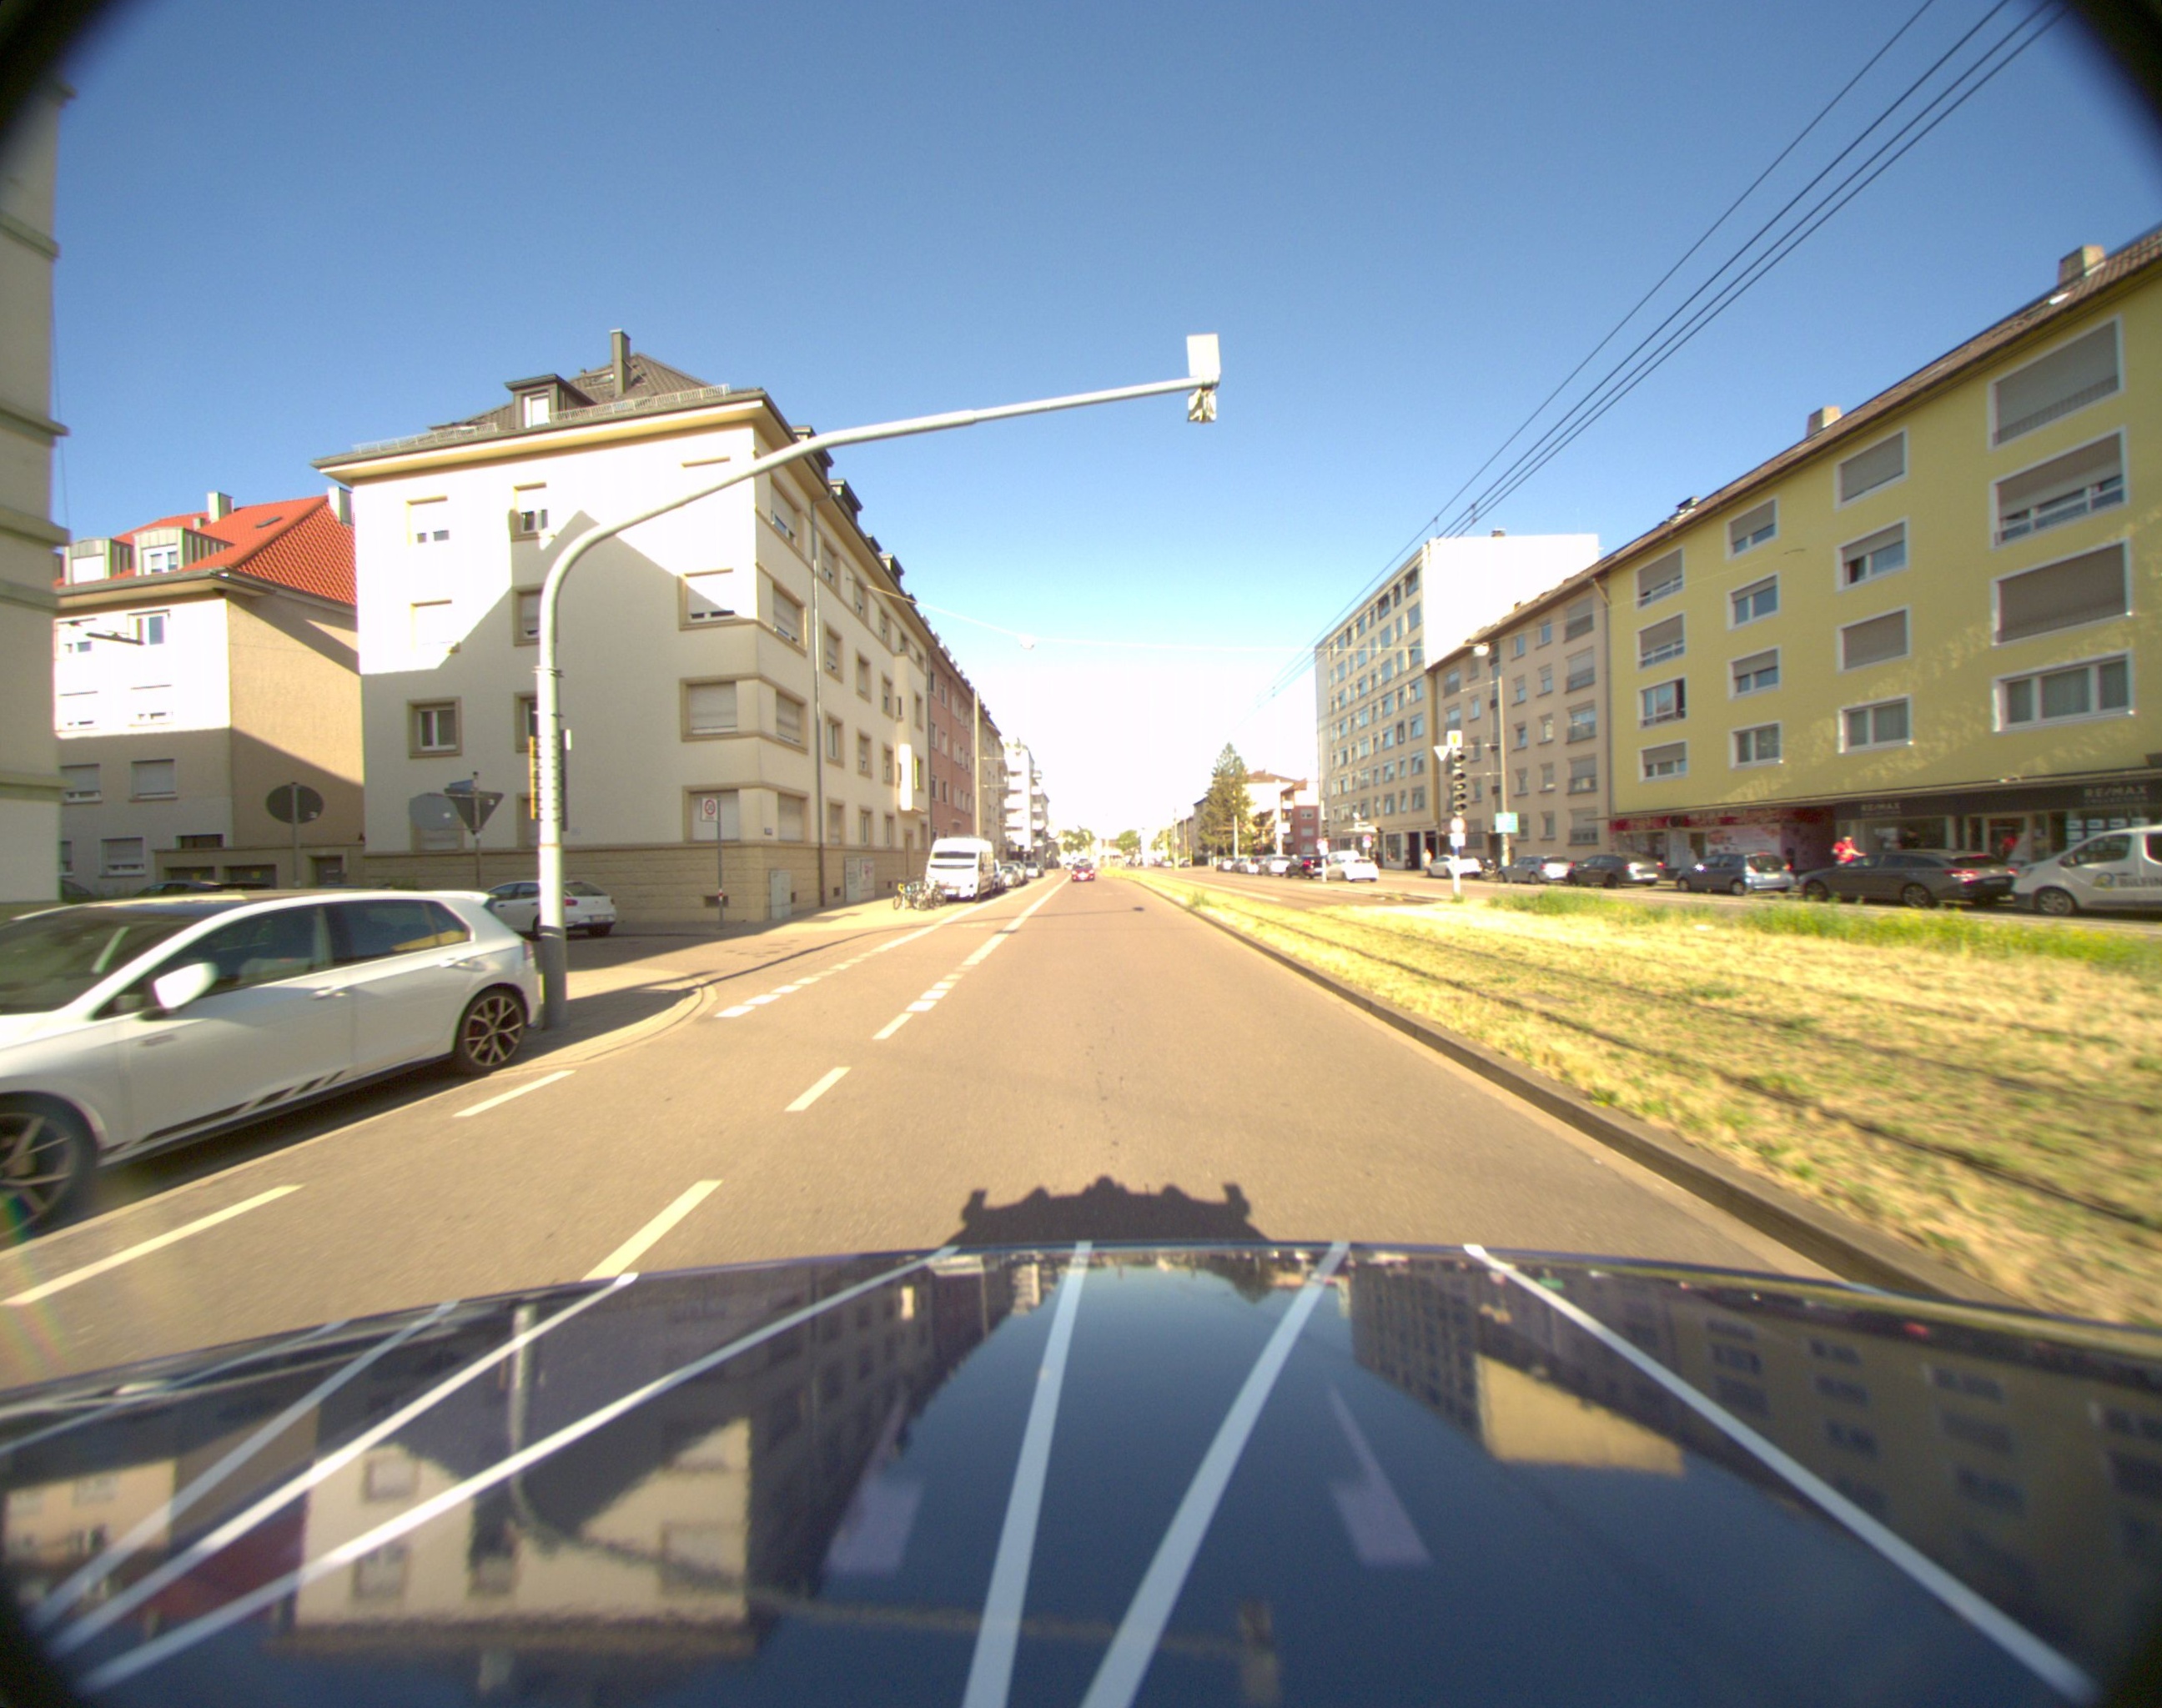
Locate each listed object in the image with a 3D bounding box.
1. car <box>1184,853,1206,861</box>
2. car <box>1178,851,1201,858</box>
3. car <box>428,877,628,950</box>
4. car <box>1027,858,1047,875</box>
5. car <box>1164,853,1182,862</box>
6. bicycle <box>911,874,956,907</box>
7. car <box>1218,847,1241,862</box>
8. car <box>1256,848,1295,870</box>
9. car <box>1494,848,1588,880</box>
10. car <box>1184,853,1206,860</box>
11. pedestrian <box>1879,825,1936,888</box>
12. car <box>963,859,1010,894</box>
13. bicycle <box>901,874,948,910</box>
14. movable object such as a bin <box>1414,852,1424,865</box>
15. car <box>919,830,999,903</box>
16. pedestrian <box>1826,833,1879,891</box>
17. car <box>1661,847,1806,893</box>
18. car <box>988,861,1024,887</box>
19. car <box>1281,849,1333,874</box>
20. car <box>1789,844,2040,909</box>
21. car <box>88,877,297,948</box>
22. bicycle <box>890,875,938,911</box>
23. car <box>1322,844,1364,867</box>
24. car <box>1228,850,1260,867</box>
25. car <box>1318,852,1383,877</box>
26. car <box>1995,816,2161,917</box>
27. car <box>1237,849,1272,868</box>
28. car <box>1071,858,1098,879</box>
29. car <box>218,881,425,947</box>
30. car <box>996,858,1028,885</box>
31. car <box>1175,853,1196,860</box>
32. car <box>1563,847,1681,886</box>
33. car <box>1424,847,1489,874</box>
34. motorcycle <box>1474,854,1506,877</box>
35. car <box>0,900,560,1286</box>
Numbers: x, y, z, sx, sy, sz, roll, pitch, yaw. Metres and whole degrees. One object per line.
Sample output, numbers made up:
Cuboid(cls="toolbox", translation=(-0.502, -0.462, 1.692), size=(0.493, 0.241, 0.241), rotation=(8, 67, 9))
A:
Cuboid(cls="car", translation=(21.894, 0.580, 145.733), size=(3.997, 1.324, 1.738), rotation=(-1, 0, 0))
Cuboid(cls="car", translation=(19.912, 0.100, 139.778), size=(3.997, 1.324, 1.738), rotation=(-1, 0, 0))
Cuboid(cls="car", translation=(-13.210, 1.399, 18.242), size=(3.735, 1.416, 1.714), rotation=(-4, 0, 11))
Cuboid(cls="car", translation=(-3.982, 1.157, 69.378), size=(1.762, 1.543, 2.649), rotation=(0, 0, -1))
Cuboid(cls="car", translation=(16.300, 0.667, 134.026), size=(1.718, 1.379, 3.720), rotation=(-4, 0, 32))
Cuboid(cls="bicycle", translation=(-5.110, 1.271, 26.265), size=(0.487, 1.080, 2.023), rotation=(-4, 0, -42))
Cuboid(cls="car", translation=(15.098, 0.066, 77.340), size=(1.617, 1.550, 4.000), rotation=(1, 0, 0))
Cuboid(cls="car", translation=(14.536, 0.390, 56.974), size=(1.787, 1.572, 4.608), rotation=(0, 0, 0))
Cuboid(cls="car", translation=(22.417, 0.481, 37.247), size=(1.787, 1.377, 4.414), rotation=(-4, 0, -1))
Cuboid(cls="car", translation=(22.376, 0.435, 149.530), size=(3.997, 1.324, 1.738), rotation=(-1, 0, 0))
Cuboid(cls="pedestrian", translation=(25.521, 0.078, 23.481), size=(0.672, 1.849, 0.924), rotation=(-4, 0, 1))
Cuboid(cls="car", translation=(-4.661, 1.055, 37.942), size=(1.852, 1.627, 4.574), rotation=(0, 0, -1))
Cuboid(cls="bicycle", translation=(-5.222, 1.242, 25.256), size=(1.912, 1.081, 0.474), rotation=(1, 4, 44))
Cuboid(cls="movable object such as a bin", translation=(27.716, 0.363, 62.331), size=(0.545, 1.045, 0.775), rotation=(-1, 0, 3))
Cuboid(cls="car", translation=(-4.822, 0.461, 31.132), size=(2.156, 2.680, 6.292), rotation=(1, 0, 1))
Cuboid(cls="pedestrian", translation=(24.048, 0.238, 23.699), size=(0.672, 1.733, 0.845), rotation=(-4, 0, 1))
Cuboid(cls="car", translation=(22.629, 0.523, 26.567), size=(1.787, 1.377, 3.768), rotation=(-4, 0, 1))
Cuboid(cls="car", translation=(-4.537, 1.190, 46.608), size=(1.625, 1.452, 4.055), rotation=(1, 0, 2))
Cuboid(cls="car", translation=(14.770, 0.499, 49.874), size=(1.788, 1.519, 4.414), rotation=(0, 0, -4))
Cuboid(cls="car", translation=(22.383, 0.560, 20.751), size=(1.787, 1.465, 4.596), rotation=(-4, 0, 1))
Cuboid(cls="car", translation=(-23.455, 1.528, 20.110), size=(4.125, 1.538, 1.714), rotation=(-4, 0, 11))
Cuboid(cls="bicycle", translation=(-5.311, 1.215, 24.027), size=(1.912, 1.080, 0.475), rotation=(1, -1, 44))
Cuboid(cls="car", translation=(23.441, 0.113, 68.199), size=(1.999, 1.887, 4.669), rotation=(-4, 0, -1))
Cuboid(cls="car", translation=(15.128, 0.415, 70.672), size=(1.999, 1.541, 4.366), rotation=(1, 0, -1))
Cuboid(cls="car", translation=(15.208, 0.581, 43.135), size=(1.839, 1.377, 4.413), rotation=(0, 0, -5))
Cuboid(cls="car", translation=(22.368, 0.216, 14.920), size=(1.999, 1.938, 5.500), rotation=(-4, 0, -2))
Cuboid(cls="car", translation=(14.630, 0.390, 64.159), size=(1.861, 1.541, 4.240), rotation=(1, 0, -1))
Cuboid(cls="car", translation=(0.288, 1.012, 54.182), size=(1.862, 1.461, 3.809), rotation=(-1, 0, 1))
Cuboid(cls="car", translation=(-19.173, 1.502, 19.236), size=(3.966, 1.330, 1.714), rotation=(-4, 0, 11))
Cuboid(cls="car", translation=(-4.605, 1.151, 51.560), size=(1.806, 1.687, 4.490), rotation=(2, 0, -1))
Cuboid(cls="car", translation=(21.233, 0.531, 154.858), size=(3.997, 1.324, 1.738), rotation=(-1, 0, 0))
Cuboid(cls="car", translation=(22.528, 0.497, 31.876), size=(1.787, 1.412, 4.415), rotation=(-4, 0, 1))
Cuboid(cls="car", translation=(22.631, 0.383, 45.970), size=(1.763, 1.477, 4.200), rotation=(-4, 0, 1))
Cuboid(cls="motorcycle", translation=(22.521, 0.620, 41.816), size=(2.115, 1.132, 0.486), rotation=(-4, 0, -32))
Cuboid(cls="car", translation=(-5.409, 1.118, 4.389), size=(1.698, 1.450, 4.379), rotation=(-1, 0, 1))
